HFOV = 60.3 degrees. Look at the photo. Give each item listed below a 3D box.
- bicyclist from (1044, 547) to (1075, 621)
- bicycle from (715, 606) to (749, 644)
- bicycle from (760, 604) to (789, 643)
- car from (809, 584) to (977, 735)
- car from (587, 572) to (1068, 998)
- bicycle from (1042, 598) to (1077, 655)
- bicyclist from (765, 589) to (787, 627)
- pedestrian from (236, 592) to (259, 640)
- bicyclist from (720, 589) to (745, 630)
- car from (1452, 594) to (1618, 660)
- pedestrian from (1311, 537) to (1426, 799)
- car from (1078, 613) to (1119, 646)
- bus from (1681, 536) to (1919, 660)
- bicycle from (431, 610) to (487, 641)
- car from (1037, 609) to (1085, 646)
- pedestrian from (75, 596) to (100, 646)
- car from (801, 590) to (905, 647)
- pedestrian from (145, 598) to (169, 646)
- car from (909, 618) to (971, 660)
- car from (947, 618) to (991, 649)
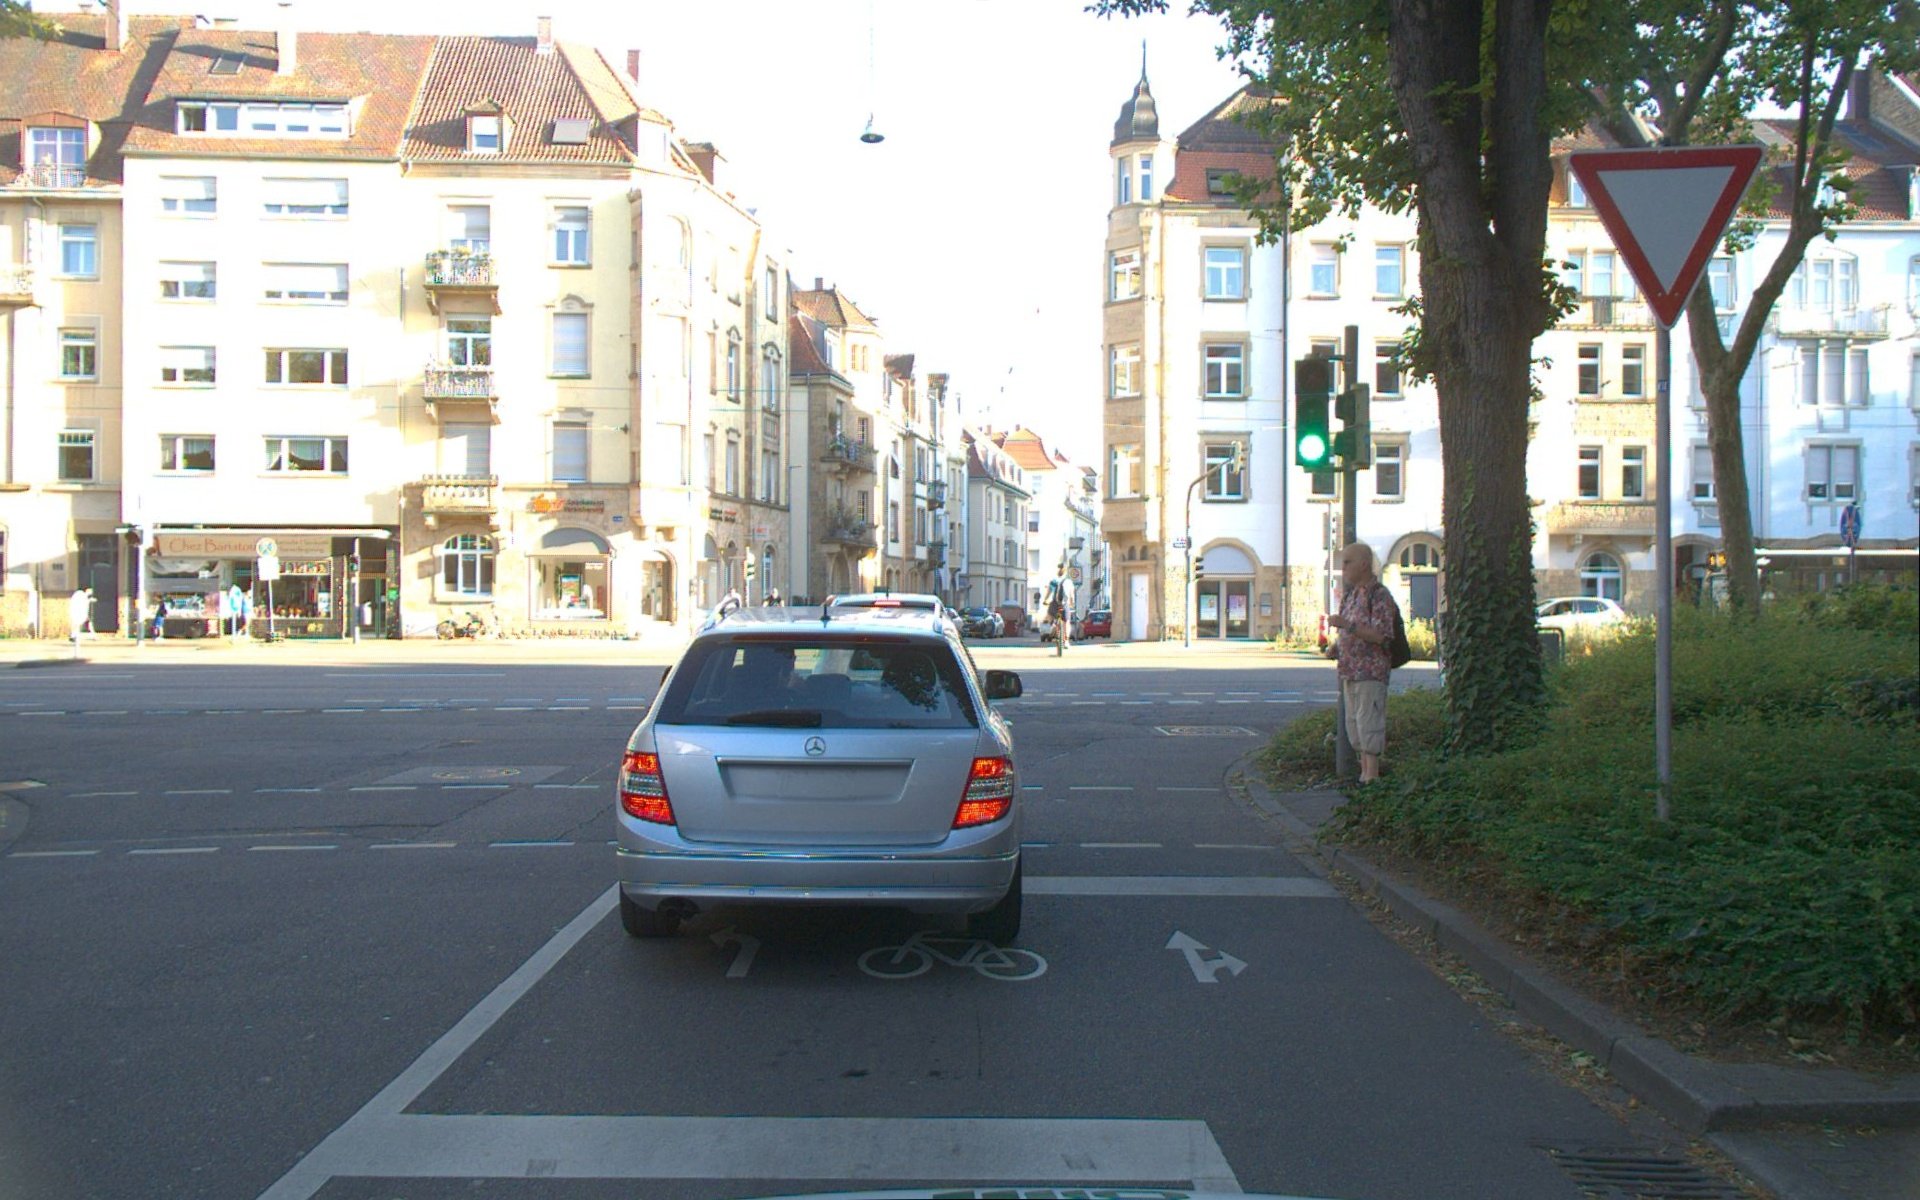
[{"bbox_3d":[2.081,-0.331,34.611,0.597,1.520,0.767,1,-1,1],"label":"bicyclist"},{"bbox_3d":[-7.027,0.754,51.109,0.637,1.124,2.552,1,0,1],"label":"bicycle"},{"bbox_3d":[-5.850,0.726,52.264,0.637,1.124,1.925,1,2,1],"label":"bicycle"},{"bbox_3d":[-0.711,0.619,18.835,1.697,1.506,3.813,1,0,-1],"label":"car"},{"bbox_3d":[-0.504,0.680,8.035,1.697,1.503,4.171,1,0,-1],"label":"car"},{"bbox_3d":[2.069,0.545,34.601,0.606,1.124,2.552,1,0,1],"label":"bicycle"},{"bbox_3d":[-5.846,0.248,52.516,0.597,1.178,0.767,1,-1,1],"label":"bicyclist"},{"bbox_3d":[-24.012,0.526,55.724,0.552,1.591,0.467,1,-1,-7],"label":"pedestrian"},{"bbox_3d":[-7.026,0.299,51.049,0.645,1.257,0.767,1,-1,1],"label":"bicyclist"},{"bbox_3d":[15.891,0.751,45.855,3.905,1.713,1.936,1,0,0],"label":"car"},{"bbox_3d":[2.960,0.482,12.037,0.685,1.838,0.666,1,-1,5],"label":"pedestrian"},{"bbox_3d":[7.765,1.624,92.323,1.791,1.736,4.003,1,0,11],"label":"car"},{"bbox_3d":[27.035,-0.001,49.330,9.668,3.433,3.274,1,-1,-3],"label":"bus"},{"bbox_3d":[-17.129,0.878,56.544,1.771,1.046,0.492,0,0,-5],"label":"bicycle"},{"bbox_3d":[4.704,1.262,76.338,1.791,1.644,4.003,1,0,9],"label":"car"},{"bbox_3d":[-28.481,0.686,53.981,0.552,1.591,0.467,1,-1,-7],"label":"pedestrian"},{"bbox_3d":[-3.771,0.654,59.183,1.877,1.933,4.306,1,0,25],"label":"car"},{"bbox_3d":[-26.567,0.729,54.713,0.552,1.591,0.467,1,-1,-7],"label":"pedestrian"},{"bbox_3d":[-0.836,1.680,71.715,1.791,1.736,4.003,1,0,13],"label":"car"},{"bbox_3d":[0.528,1.875,93.043,1.791,1.644,4.003,1,0,10],"label":"car"}]
